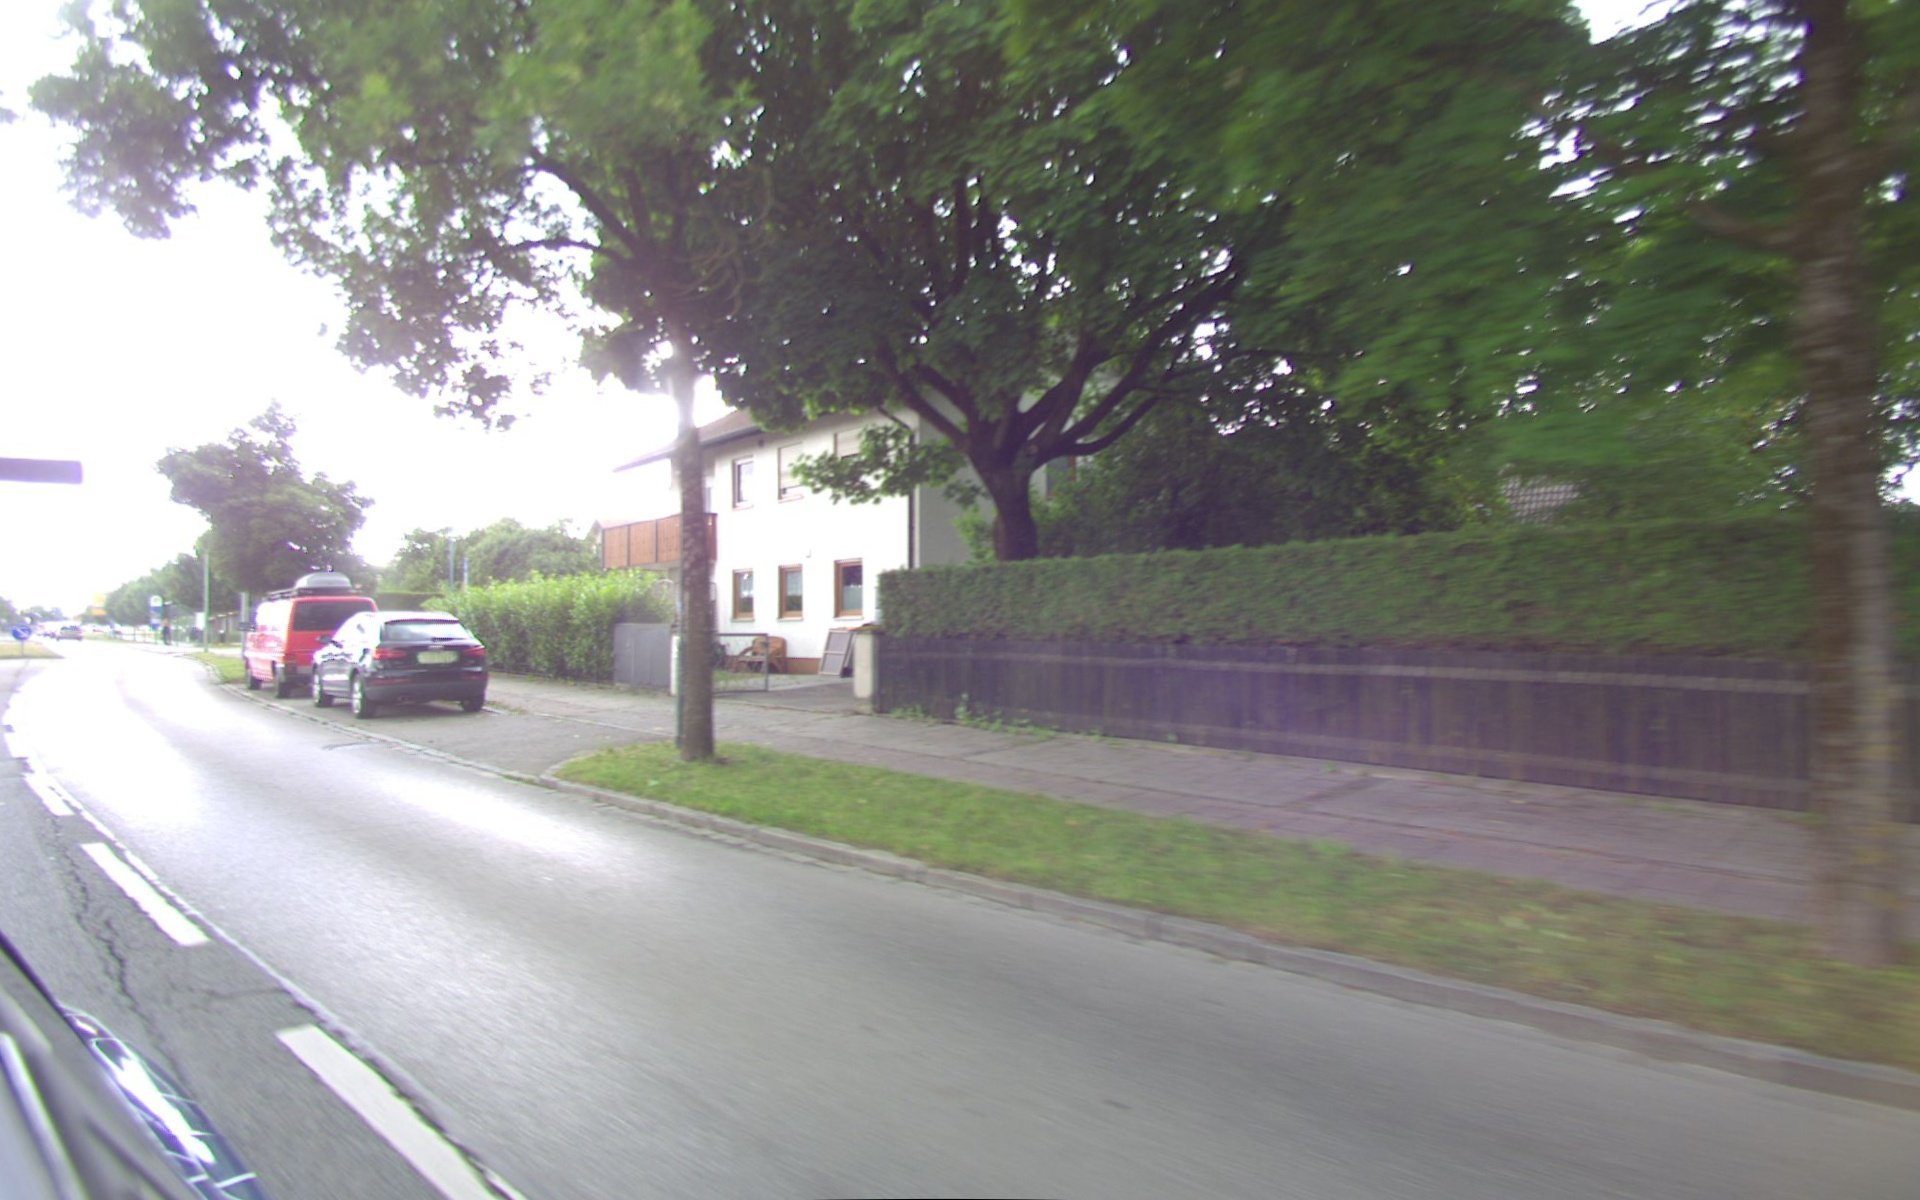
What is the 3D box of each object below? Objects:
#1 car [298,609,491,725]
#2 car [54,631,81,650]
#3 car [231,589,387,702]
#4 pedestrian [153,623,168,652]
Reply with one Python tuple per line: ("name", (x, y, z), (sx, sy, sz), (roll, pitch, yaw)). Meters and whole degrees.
("car", (-9.302, 1.010, 16.481), (1.751, 1.610, 4.241), (-1, -1, -43))
("car", (-77.665, 3.515, 88.042), (1.686, 1.544, 3.512), (3, -3, -42))
("car", (-13.465, 0.898, 20.801), (1.808, 2.046, 5.050), (1, -2, -43))
("pedestrian", (-46.172, 2.152, 58.439), (0.581, 1.649, 0.813), (1, -2, -45))
